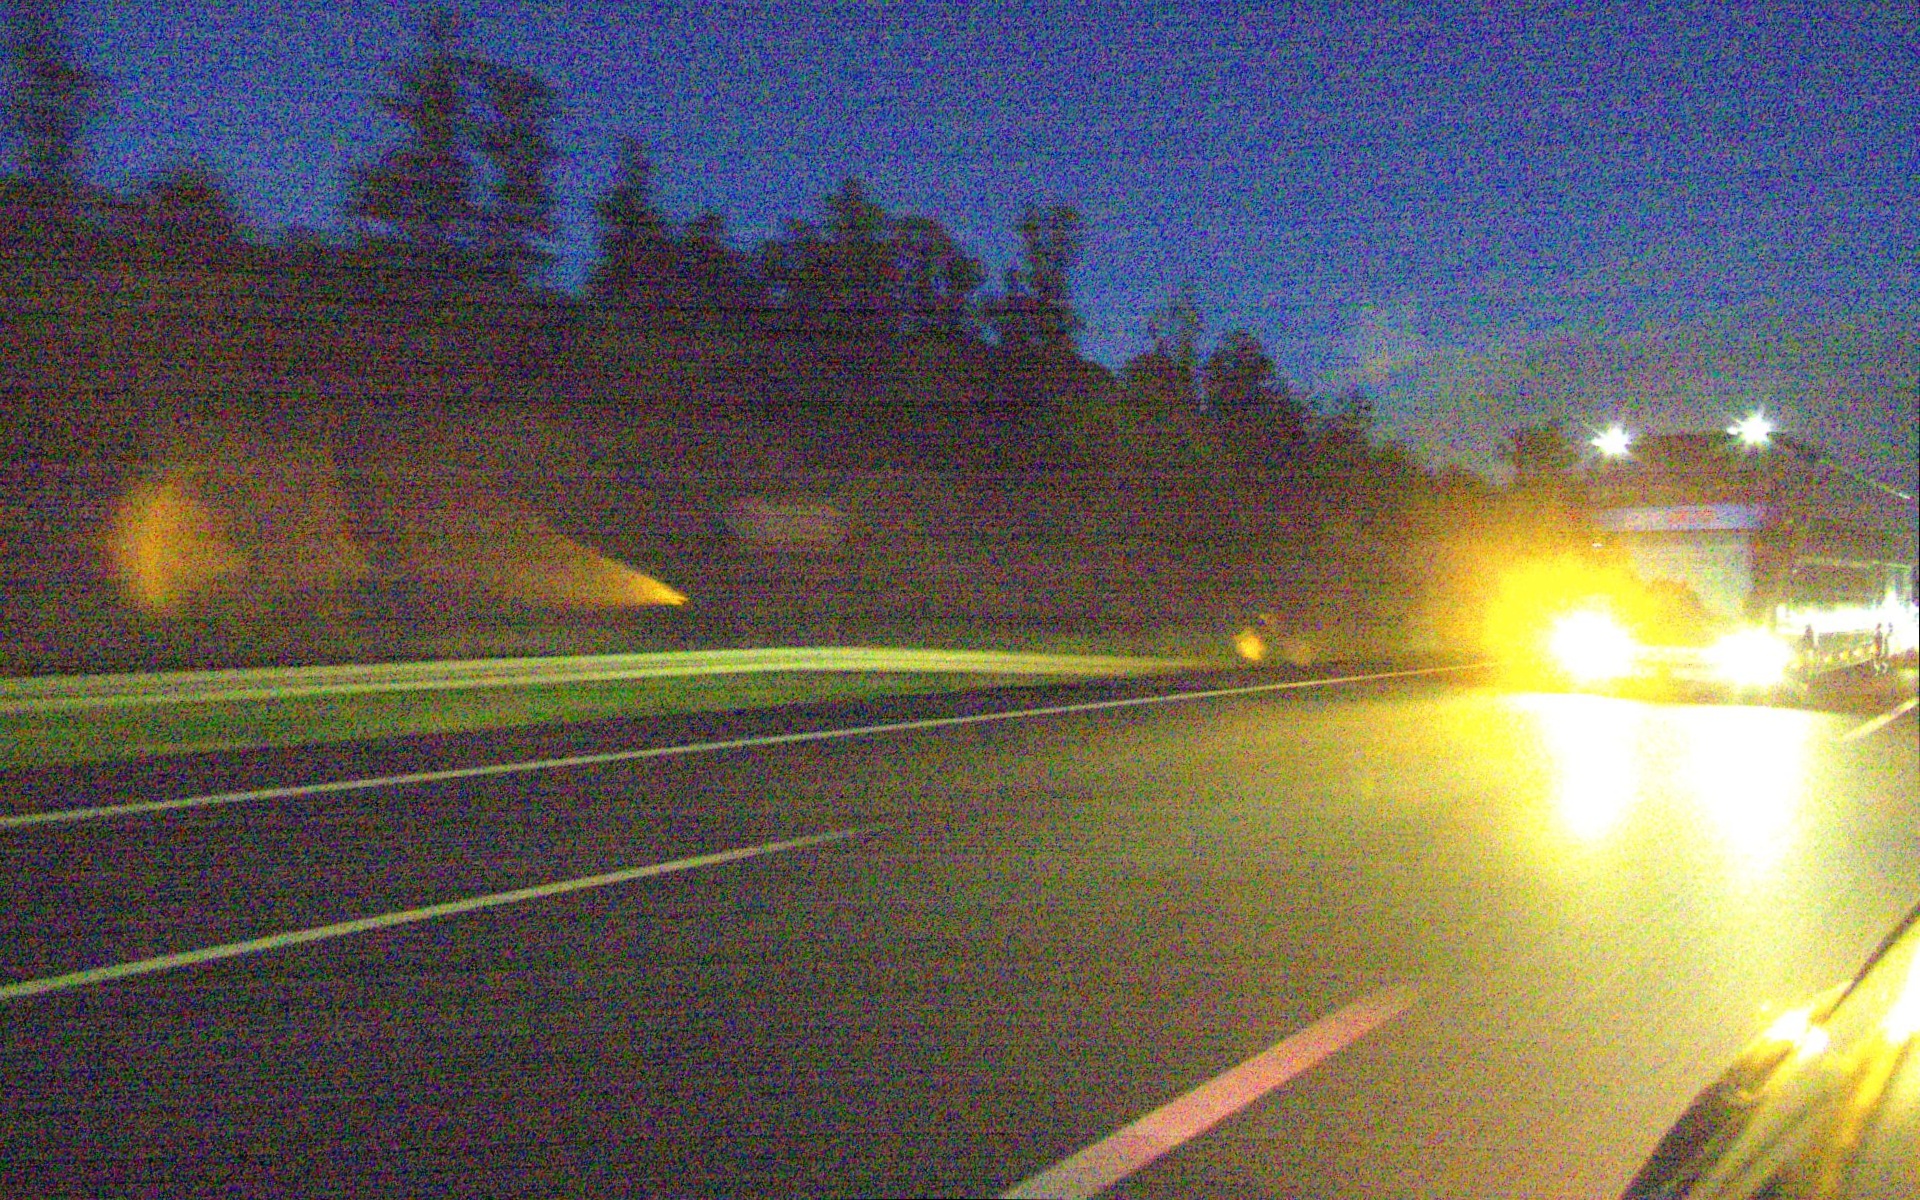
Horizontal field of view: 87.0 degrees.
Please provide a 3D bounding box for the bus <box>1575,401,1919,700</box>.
[{"bbox_3d":[15.873,-0.727,19.399,14.443,4.044,2.657,-1,0,-41],"label":"bus"}]
